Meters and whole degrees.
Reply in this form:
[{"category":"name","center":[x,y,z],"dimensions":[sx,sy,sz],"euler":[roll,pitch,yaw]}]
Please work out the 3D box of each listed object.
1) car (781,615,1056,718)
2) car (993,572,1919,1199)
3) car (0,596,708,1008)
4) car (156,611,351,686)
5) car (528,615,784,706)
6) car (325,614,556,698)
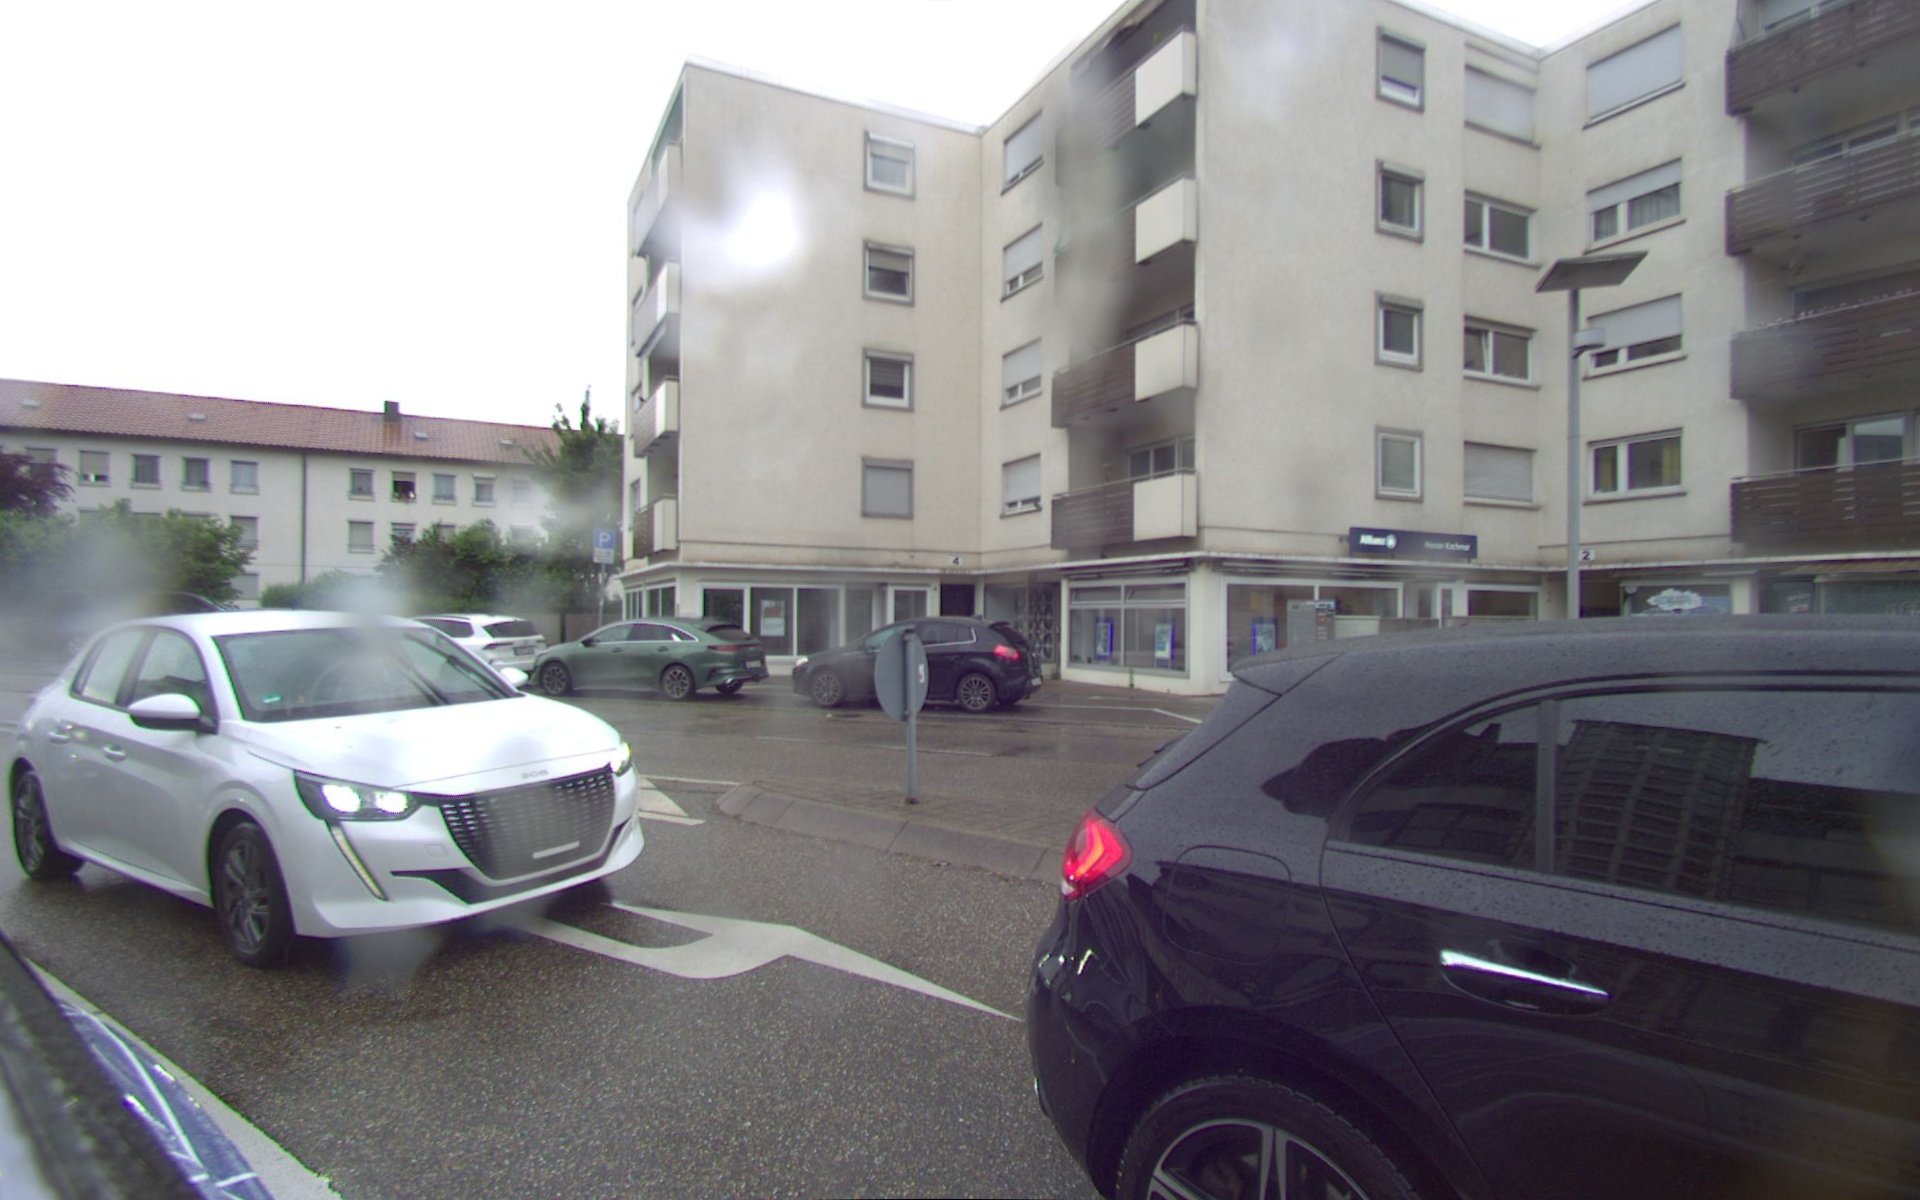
[{"category":"car","center":[-0.663,1.016,16.648],"dimensions":[4.156,1.471,1.825],"euler":[0,0,20]},{"category":"car","center":[2.170,0.687,1.320],"dimensions":[4.090,1.492,1.646],"euler":[-2,-1,40]},{"category":"car","center":[-3.366,0.738,5.332],"dimensions":[3.882,1.420,1.726],"euler":[-1,1,31]},{"category":"car","center":[-15.603,1.025,22.360],"dimensions":[3.852,1.517,1.623],"euler":[0,-1,20]},{"category":"car","center":[-5.547,1.036,18.533],"dimensions":[4.241,1.445,1.826],"euler":[0,0,19]},{"category":"car","center":[-10.453,1.067,20.362],"dimensions":[4.313,1.511,1.627],"euler":[0,-1,20]}]
